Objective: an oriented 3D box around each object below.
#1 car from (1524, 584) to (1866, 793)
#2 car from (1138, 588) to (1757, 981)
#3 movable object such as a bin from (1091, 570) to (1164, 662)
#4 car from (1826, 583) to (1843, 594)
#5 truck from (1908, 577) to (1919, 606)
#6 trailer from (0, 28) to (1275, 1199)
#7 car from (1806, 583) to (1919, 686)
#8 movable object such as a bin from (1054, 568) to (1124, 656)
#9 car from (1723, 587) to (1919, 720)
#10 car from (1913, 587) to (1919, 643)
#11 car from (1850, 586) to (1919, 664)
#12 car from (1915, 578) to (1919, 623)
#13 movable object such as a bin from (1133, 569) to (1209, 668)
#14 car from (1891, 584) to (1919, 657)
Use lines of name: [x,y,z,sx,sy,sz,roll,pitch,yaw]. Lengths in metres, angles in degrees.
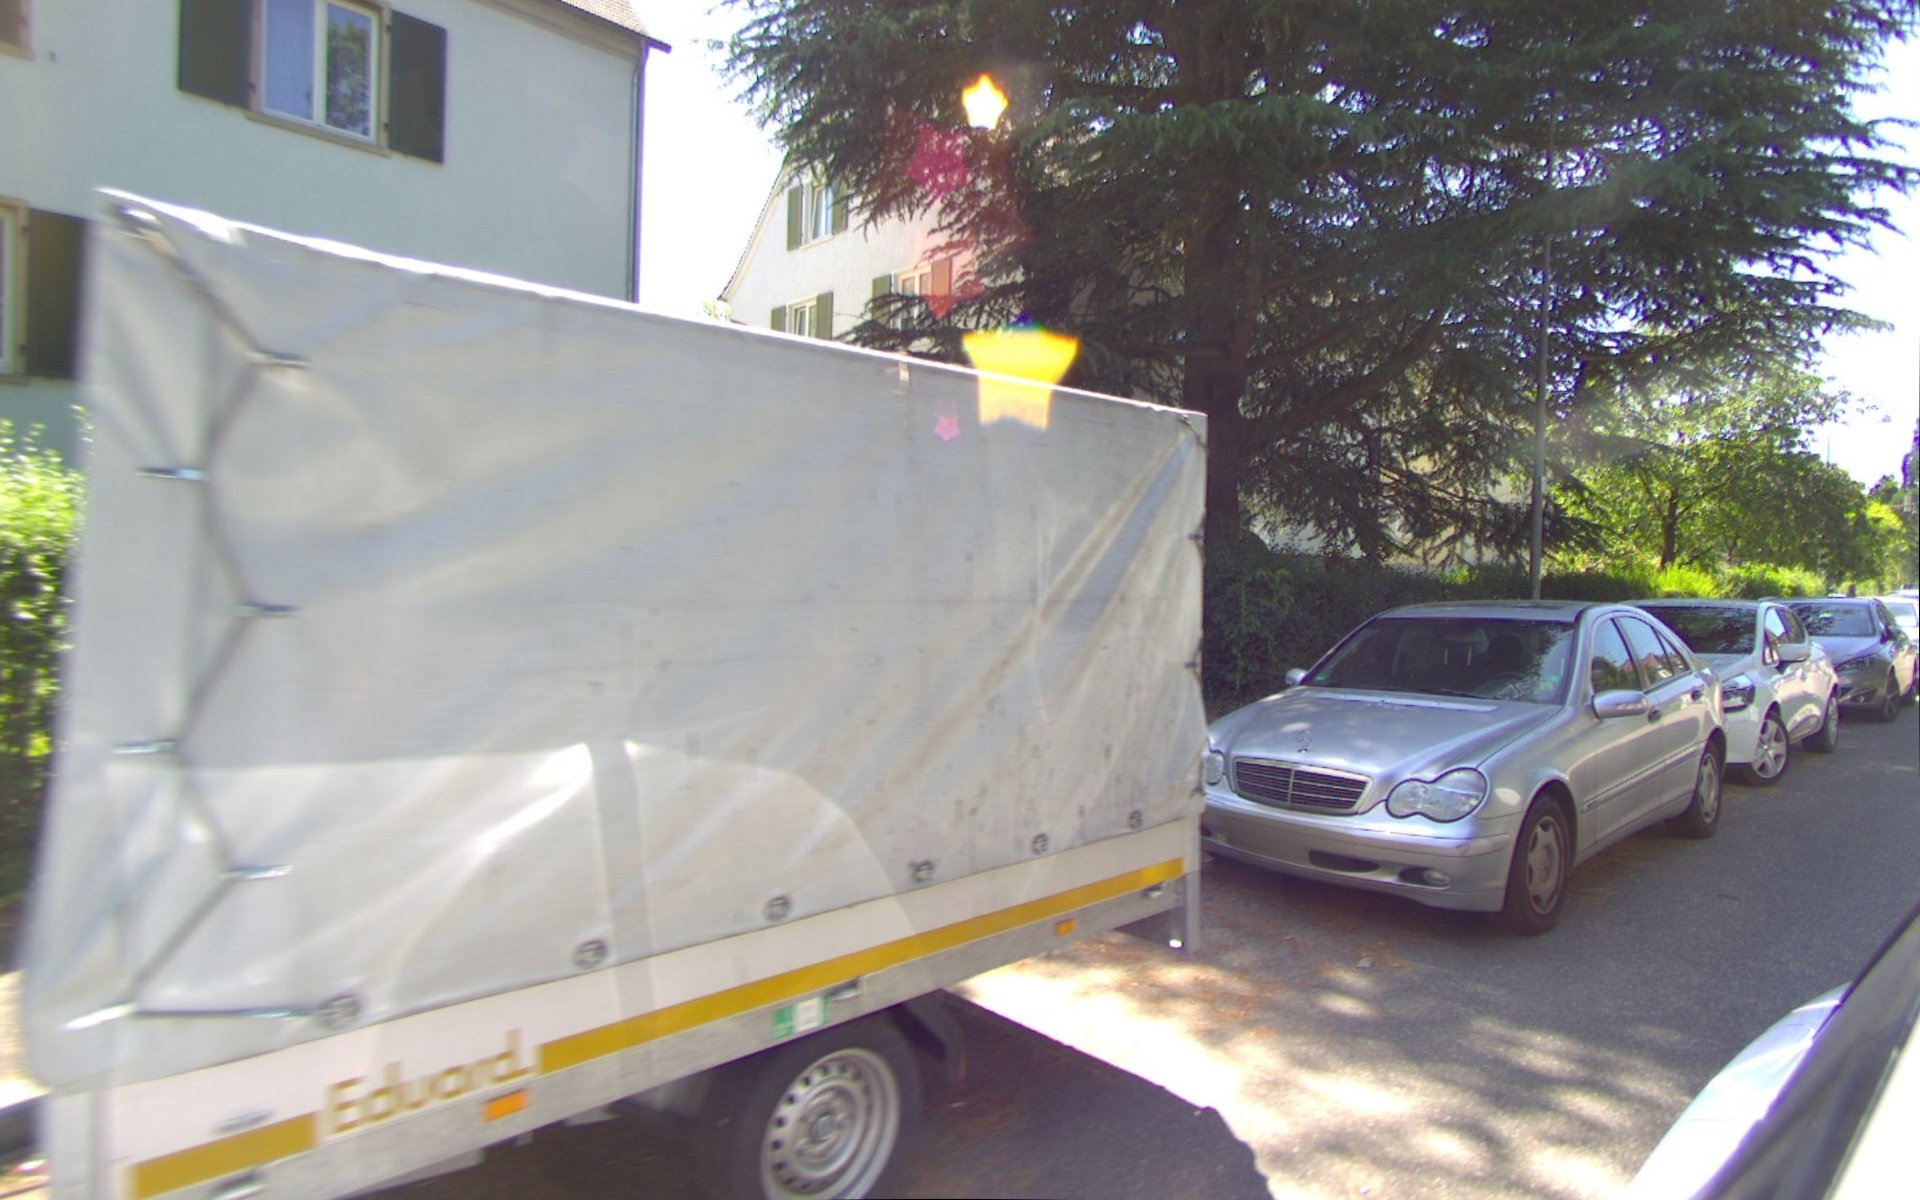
car: [6.743,0.612,9.125,3.993,1.488,1.617,0,1,-41]
car: [2.980,0.661,5.705,4.184,1.413,1.617,-1,0,-41]
movable object such as a bin: [1.758,0.155,10.640,0.528,0.914,0.512,0,3,-42]
car: [126.872,-1.663,146.812,1.650,1.581,3.830,3,3,39]
truck: [80.436,-0.655,83.611,2.121,2.368,6.352,2,1,35]
trailer: [-0.967,0.375,2.462,3.644,2.094,1.682,0,-1,-42]
car: [15.553,0.514,16.933,3.996,1.532,1.616,-1,-1,-43]
movable object such as a bin: [1.415,0.124,11.117,0.528,0.914,0.512,0,3,-42]
car: [11.464,0.580,13.183,4.299,1.469,1.617,0,0,-41]
car: [26.780,0.373,27.211,1.662,1.450,4.138,1,1,43]
car: [19.311,0.522,20.422,3.940,1.462,1.583,2,-3,-43]
car: [39.372,-0.011,40.351,1.660,1.826,4.140,-2,-1,41]
movable object such as a bin: [2.134,0.175,10.242,0.528,0.953,0.512,0,3,-42]
car: [22.807,0.455,23.433,3.941,1.596,1.583,0,0,-43]
